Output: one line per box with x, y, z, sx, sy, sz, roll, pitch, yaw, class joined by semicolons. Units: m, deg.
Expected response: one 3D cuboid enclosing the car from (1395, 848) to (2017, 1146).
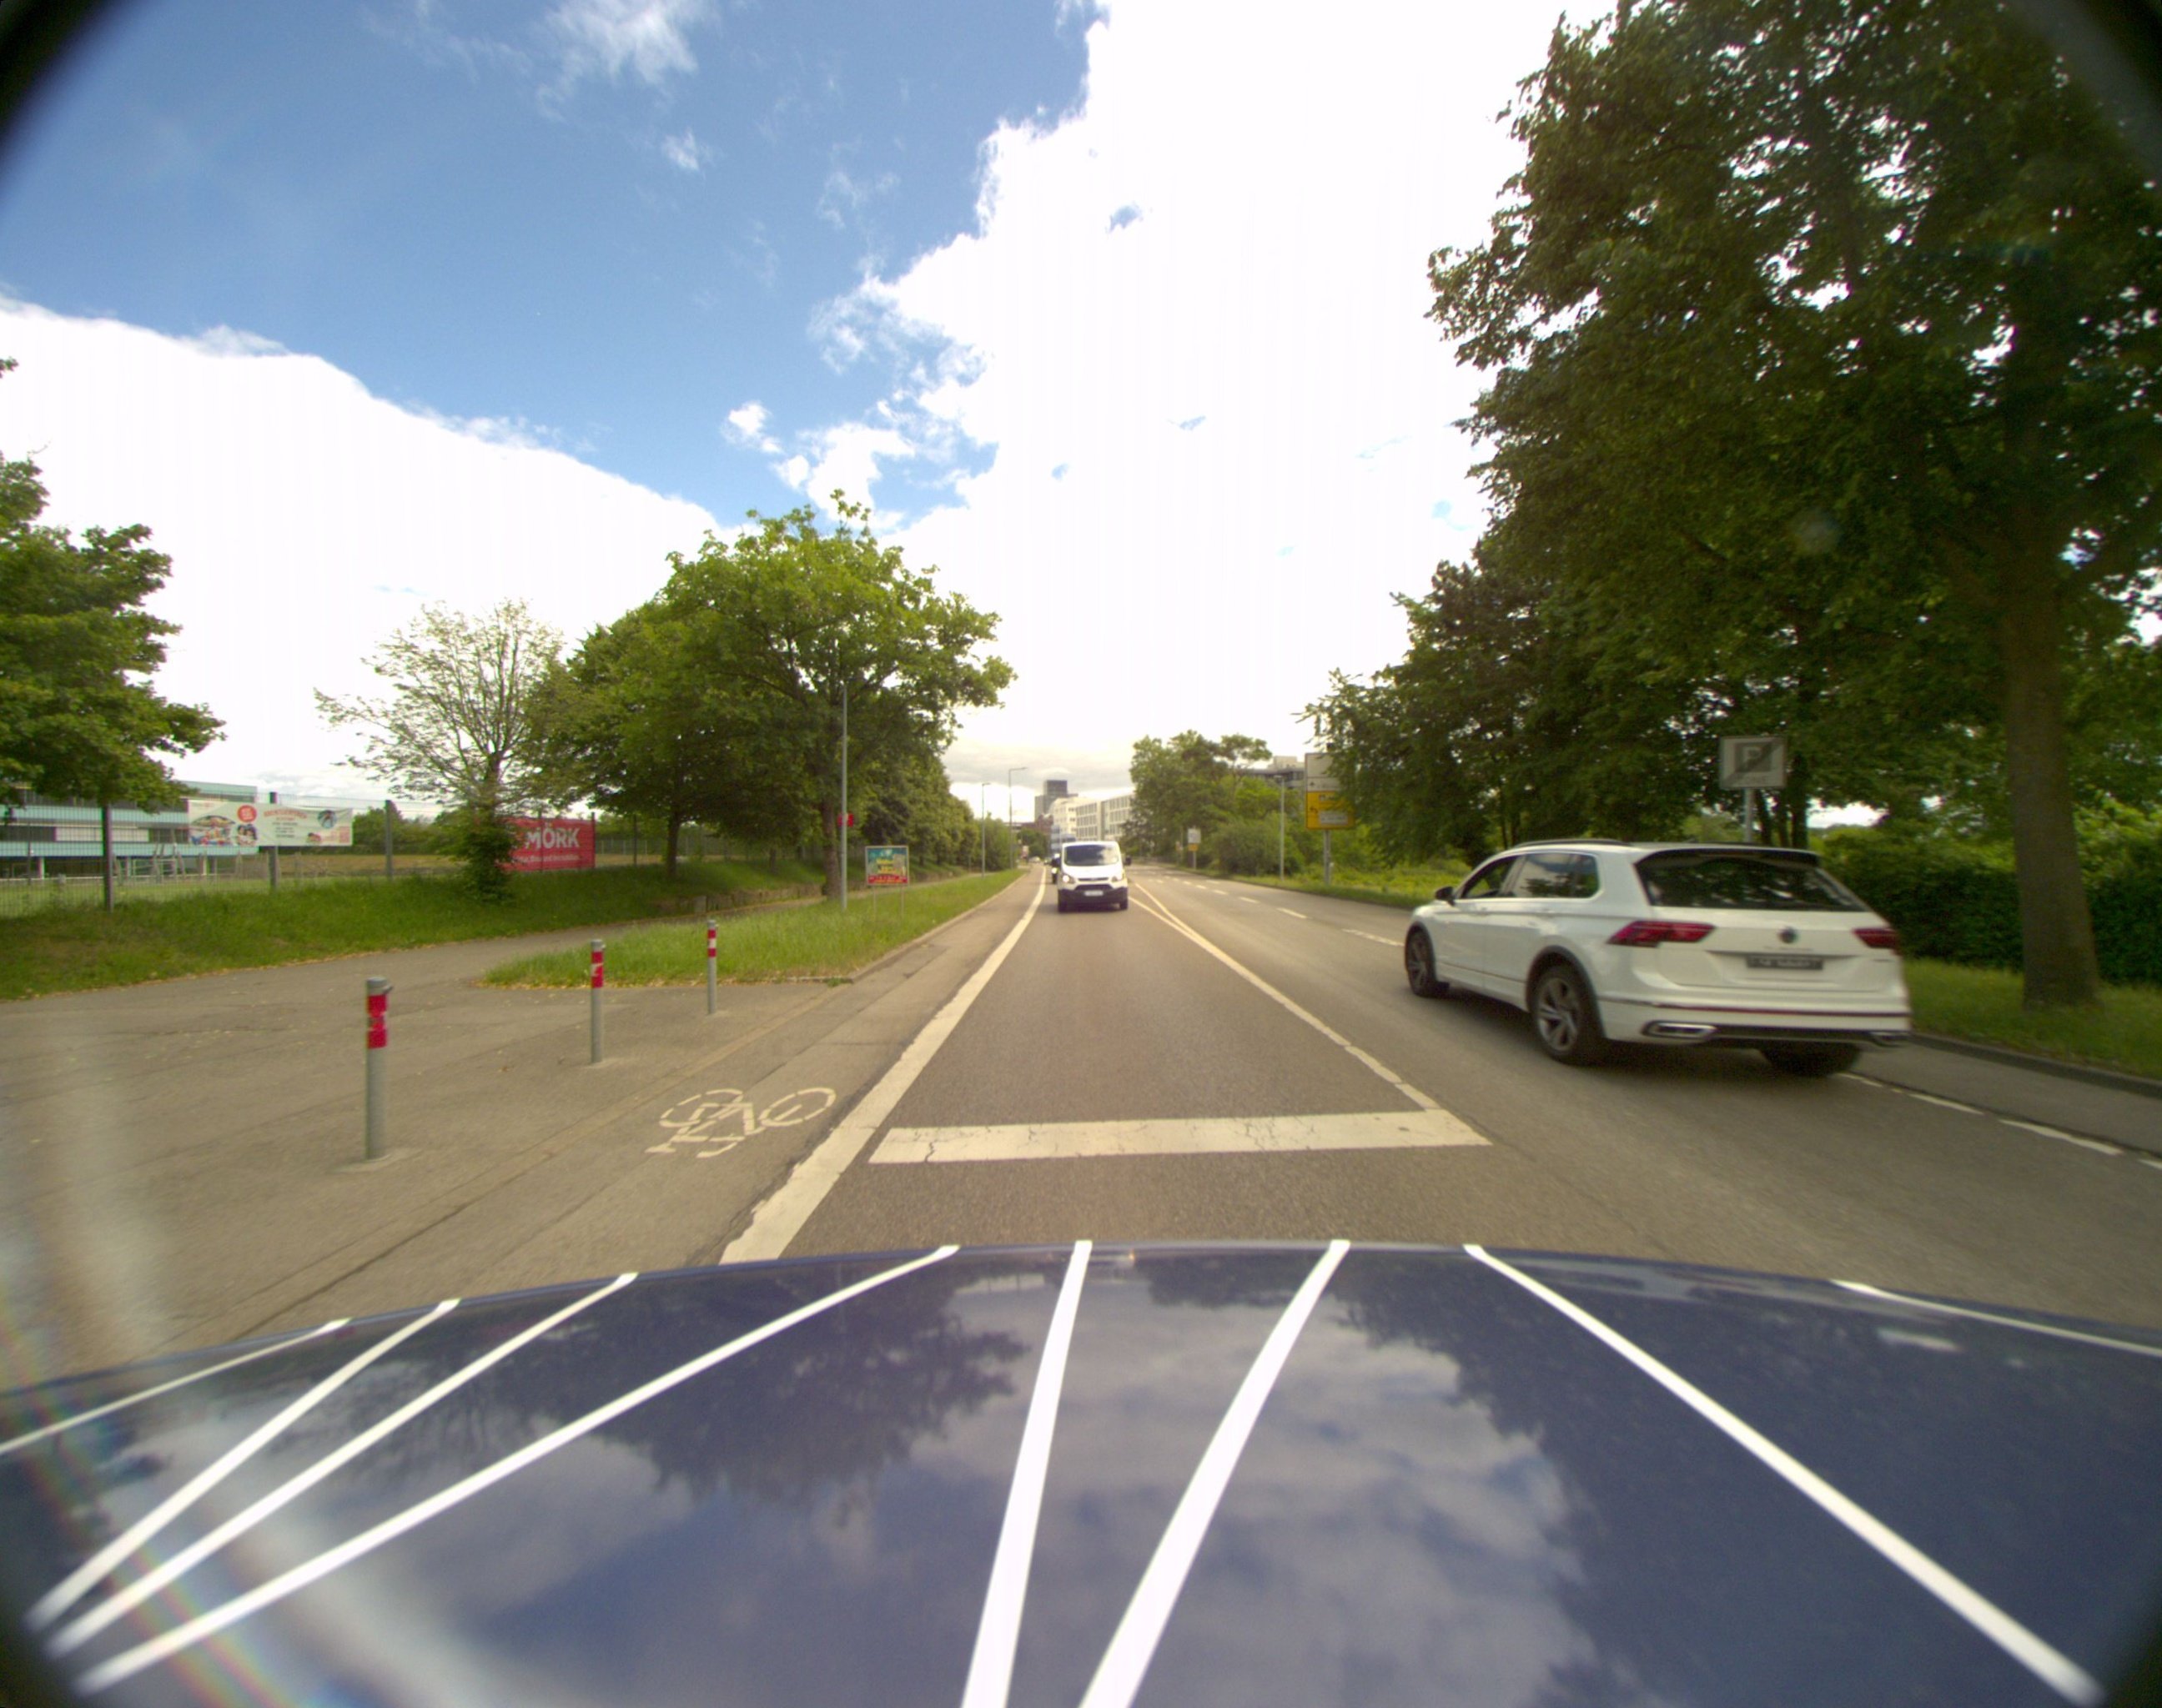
4.394;0.793;6.457;1.879;1.625;4.341;1;0;4;car

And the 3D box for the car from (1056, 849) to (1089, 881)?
-0.537;0.623;46.253;1.872;1.836;4.370;-2;0;-1;car

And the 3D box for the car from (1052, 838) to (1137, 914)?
0.258;0.584;23.467;2.122;1.963;6.204;-2;0;-3;car

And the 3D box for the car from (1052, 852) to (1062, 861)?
-4.586;0.476;143.496;1.872;1.685;4.370;-2;0;-2;car

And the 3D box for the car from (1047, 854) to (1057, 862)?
-5.942;0.869;157.359;1.873;1.685;4.369;1;0;-5;car
